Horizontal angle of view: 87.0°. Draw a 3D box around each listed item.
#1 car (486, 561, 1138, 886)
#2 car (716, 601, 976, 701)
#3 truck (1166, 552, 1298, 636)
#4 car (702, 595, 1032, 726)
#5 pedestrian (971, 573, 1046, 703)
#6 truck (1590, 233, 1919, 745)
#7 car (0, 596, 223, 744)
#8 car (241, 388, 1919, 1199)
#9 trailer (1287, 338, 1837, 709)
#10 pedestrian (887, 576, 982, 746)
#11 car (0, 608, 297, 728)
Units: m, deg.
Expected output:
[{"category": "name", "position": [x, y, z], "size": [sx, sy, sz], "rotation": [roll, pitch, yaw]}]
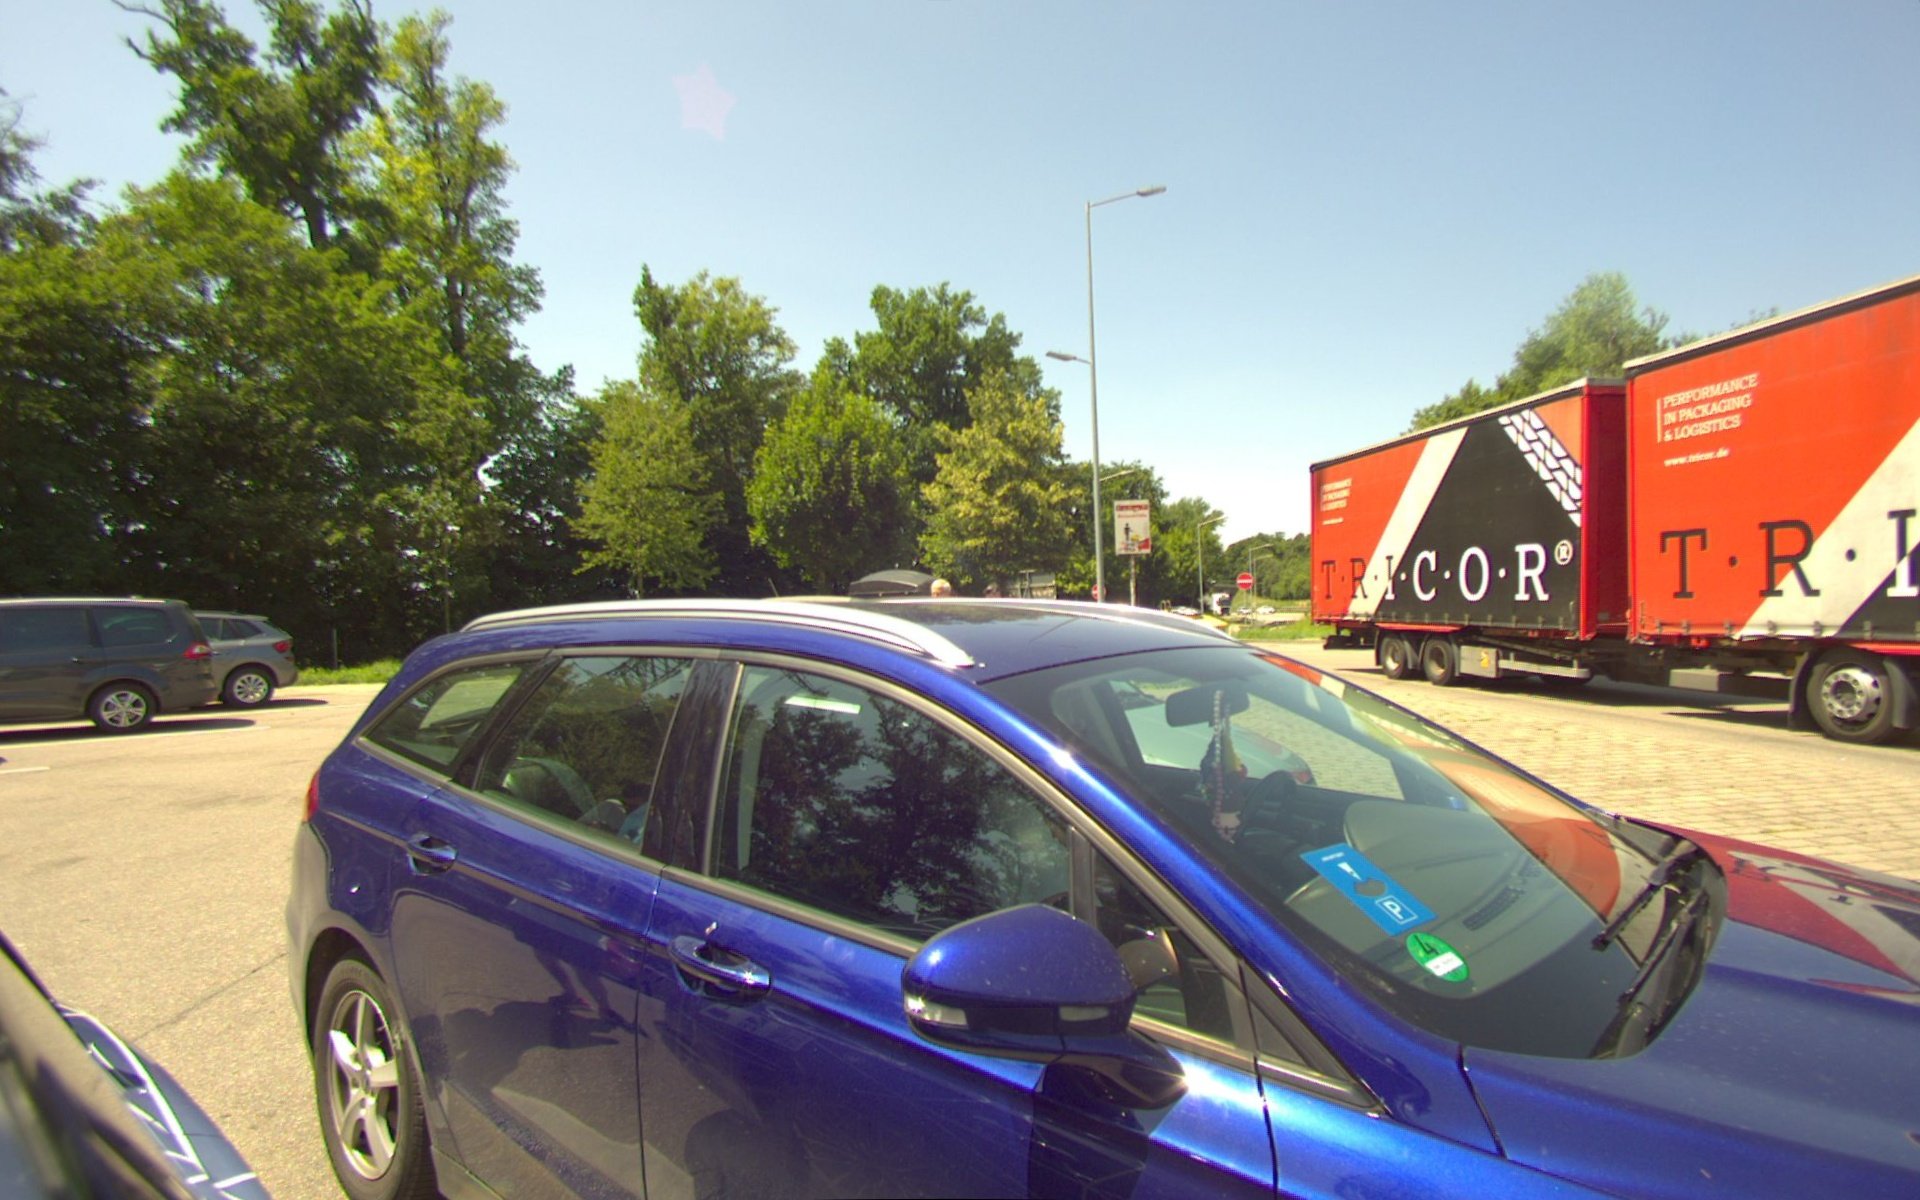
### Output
[{"category": "car", "position": [-1.235, 0.632, 6.729], "size": [4.466, 1.476, 1.756], "rotation": [-3, -1, 40]}, {"category": "car", "position": [-2.023, 0.829, 17.107], "size": [4.466, 1.476, 1.756], "rotation": [-3, -1, 40]}, {"category": "truck", "position": [12.839, -0.228, 47.710], "size": [5.782, 3.720, 1.987], "rotation": [-2, -1, 20]}, {"category": "car", "position": [-1.371, 0.757, 13.554], "size": [4.466, 1.476, 1.756], "rotation": [-3, -1, 40]}, {"category": "pedestrian", "position": [0.638, 0.490, 13.428], "size": [0.638, 1.662, 0.717], "rotation": [-1, -2, -43]}, {"category": "truck", "position": [9.327, -0.964, 6.684], "size": [2.652, 4.159, 10.618], "rotation": [-2, -1, -6]}, {"category": "car", "position": [-11.693, 0.846, 12.578], "size": [3.910, 1.701, 1.782], "rotation": [-1, -1, -43]}, {"category": "car", "position": [0.229, 0.632, 2.122], "size": [4.466, 1.476, 1.756], "rotation": [-3, -1, 40]}, {"category": "trailer", "position": [8.473, -0.840, 16.183], "size": [2.800, 4.290, 8.695], "rotation": [-2, -1, -5]}, {"category": "pedestrian", "position": [-0.245, 0.591, 10.114], "size": [0.668, 1.614, 0.753], "rotation": [-2, -1, 23]}, {"category": "car", "position": [-12.722, 0.971, 15.629], "size": [3.910, 1.598, 1.782], "rotation": [-1, -1, -43]}]
